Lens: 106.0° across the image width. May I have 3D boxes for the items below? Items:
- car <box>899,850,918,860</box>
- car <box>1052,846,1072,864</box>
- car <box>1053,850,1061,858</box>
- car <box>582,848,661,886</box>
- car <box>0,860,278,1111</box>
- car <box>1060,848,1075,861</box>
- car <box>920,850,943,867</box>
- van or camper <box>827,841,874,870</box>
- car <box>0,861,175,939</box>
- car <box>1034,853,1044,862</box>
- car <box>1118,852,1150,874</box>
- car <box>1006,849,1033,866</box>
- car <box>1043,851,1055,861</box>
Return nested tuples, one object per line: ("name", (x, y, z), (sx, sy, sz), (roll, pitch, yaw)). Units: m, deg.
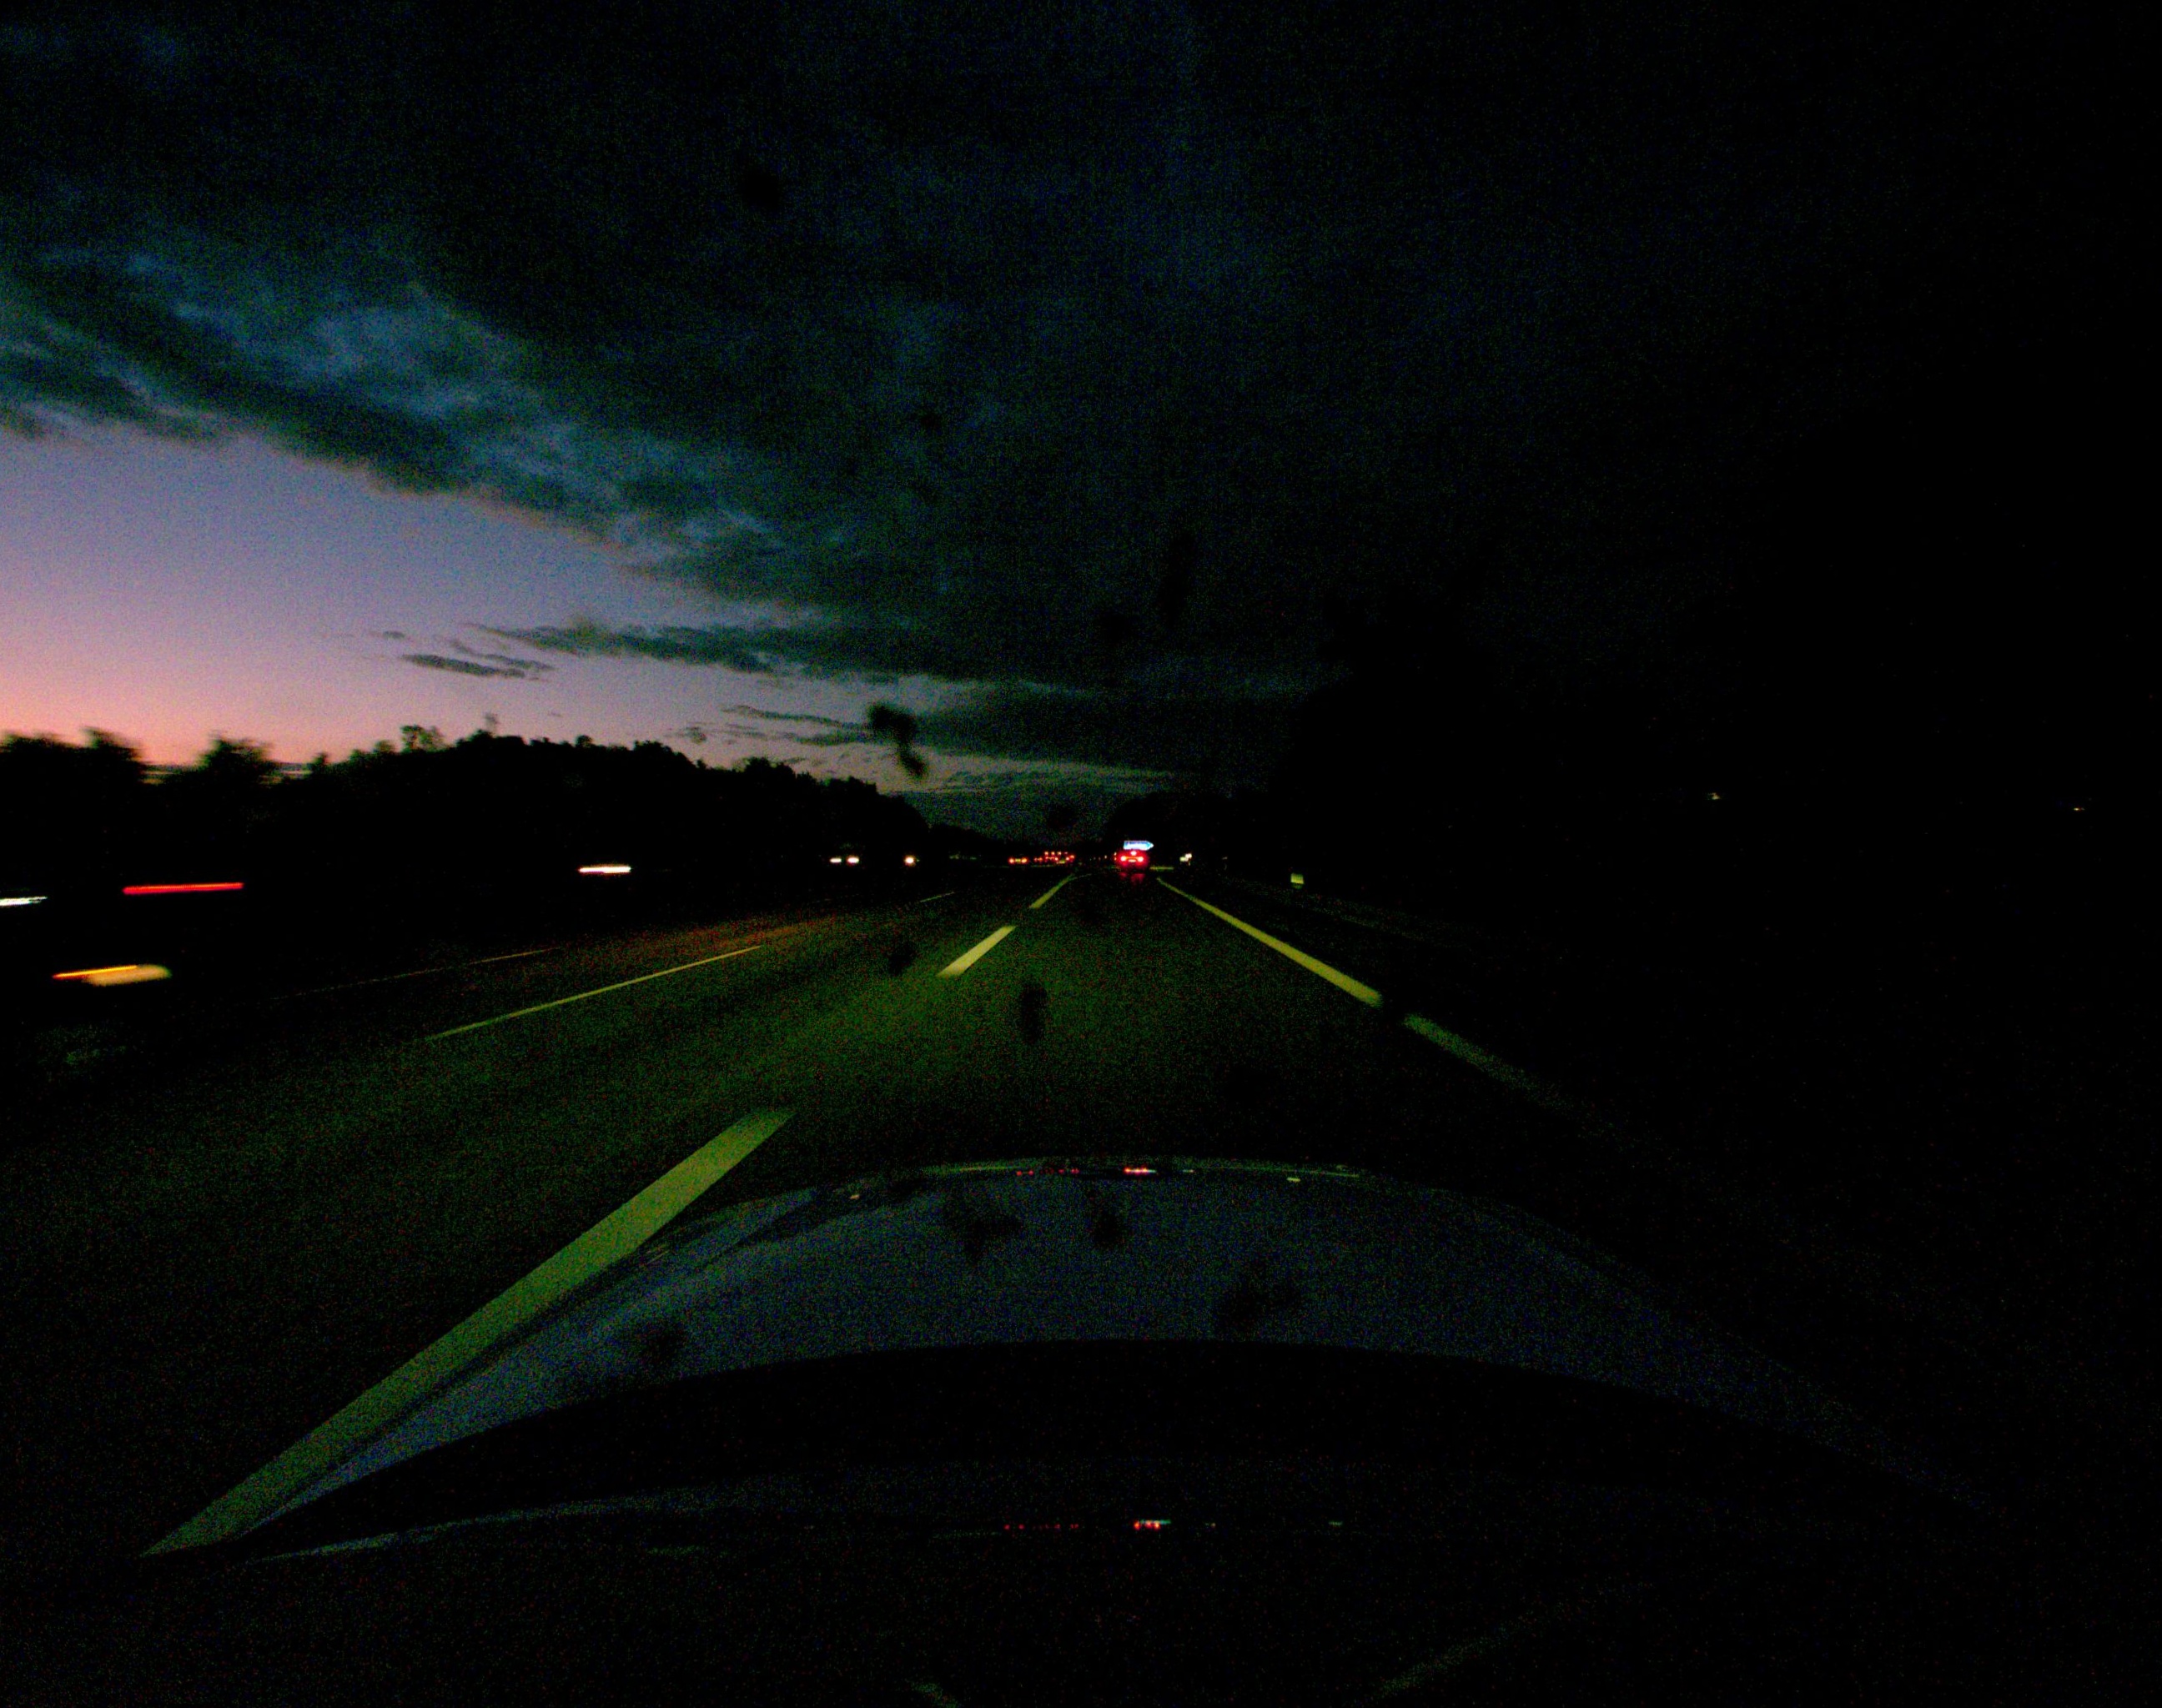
("car", (-26.601, 0.145, 125.484), (1.987, 1.549, 4.001), (1, 0, 1))
("car", (-2.170, 0.119, 93.921), (1.985, 2.013, 4.003), (-1, 0, 3))
("car", (-6.123, -0.091, 207.517), (1.990, 2.013, 3.994), (-1, 0, -4))
("car", (-25.833, 0.691, 45.923), (2.021, 2.013, 4.237), (-1, 0, 0))
("car", (-7.580, 0.827, 4.329), (1.986, 1.498, 4.551), (-1, 0, 2))
("car", (-2.006, 0.067, 125.352), (1.985, 2.013, 4.004), (-1, 0, 3))
("car", (-18.859, 0.555, 102.782), (1.986, 2.013, 4.001), (0, 0, 1))
("van or camper", (-22.134, 0.137, 78.551), (2.508, 2.595, 6.490), (-1, 0, 1))
("car", (-22.953, 0.973, 17.686), (1.986, 1.546, 4.002), (-1, 0, 2))
("car", (-9.880, 0.752, 192.776), (2.099, 2.013, 3.998), (-2, 0, -2))
("car", (4.241, 0.668, 64.551), (1.981, 1.659, 4.327), (-1, 0, 10))
("car", (-6.322, 0.310, 84.139), (1.983, 1.642, 4.562), (-1, 0, 6))
("car", (-6.412, 0.371, 163.542), (2.064, 2.013, 4.001), (-1, 0, 1))
